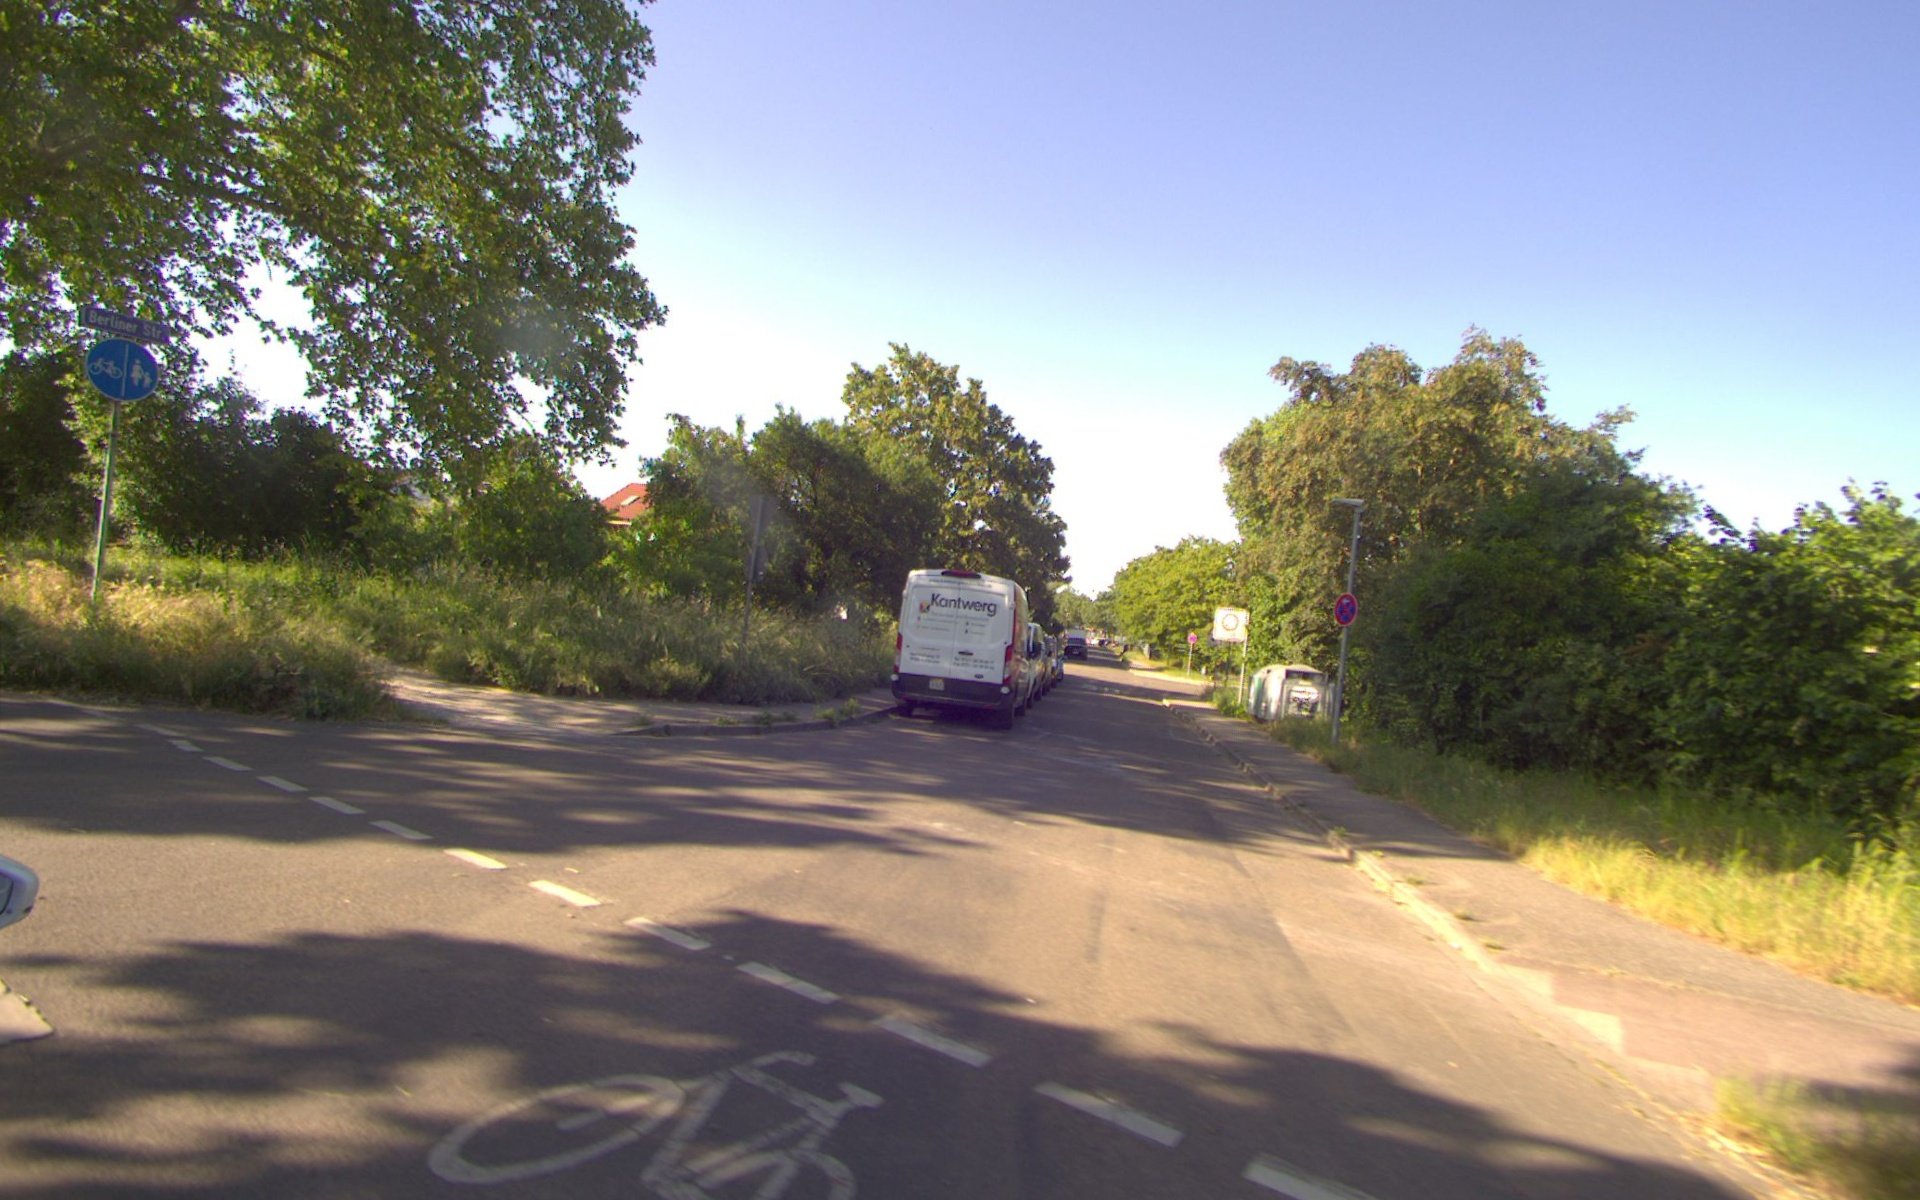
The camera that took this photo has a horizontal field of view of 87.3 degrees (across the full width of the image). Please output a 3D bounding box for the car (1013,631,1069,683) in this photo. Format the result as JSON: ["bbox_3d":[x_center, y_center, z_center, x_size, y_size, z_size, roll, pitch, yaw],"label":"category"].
[{"bbox_3d":[3.500,2.432,42.747,1.983,1.876,4.404,7,-3,8],"label":"car"}]

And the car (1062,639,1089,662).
[{"bbox_3d":[9.860,4.317,86.113,1.962,1.721,4.005,7,-3,4],"label":"car"}]

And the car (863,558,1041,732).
[{"bbox_3d":[0.065,0.858,18.334,2.285,2.466,5.008,7,-2,8],"label":"car"}]

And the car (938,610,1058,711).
[{"bbox_3d":[1.075,1.488,24.740,2.249,1.964,5.157,7,-3,8],"label":"car"}]

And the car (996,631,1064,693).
[{"bbox_3d":[2.588,2.253,36.343,1.983,1.895,3.932,7,-3,8],"label":"car"}]

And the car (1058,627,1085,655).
[{"bbox_3d":[10.259,3.811,92.896,1.962,2.331,4.005,7,-2,4],"label":"car"}]

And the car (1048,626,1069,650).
[{"bbox_3d":[11.143,4.320,113.633,1.962,2.499,4.005,7,-2,4],"label":"car"}]

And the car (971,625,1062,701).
[{"bbox_3d":[1.862,1.966,31.427,2.249,1.895,5.157,7,-3,8],"label":"car"}]
